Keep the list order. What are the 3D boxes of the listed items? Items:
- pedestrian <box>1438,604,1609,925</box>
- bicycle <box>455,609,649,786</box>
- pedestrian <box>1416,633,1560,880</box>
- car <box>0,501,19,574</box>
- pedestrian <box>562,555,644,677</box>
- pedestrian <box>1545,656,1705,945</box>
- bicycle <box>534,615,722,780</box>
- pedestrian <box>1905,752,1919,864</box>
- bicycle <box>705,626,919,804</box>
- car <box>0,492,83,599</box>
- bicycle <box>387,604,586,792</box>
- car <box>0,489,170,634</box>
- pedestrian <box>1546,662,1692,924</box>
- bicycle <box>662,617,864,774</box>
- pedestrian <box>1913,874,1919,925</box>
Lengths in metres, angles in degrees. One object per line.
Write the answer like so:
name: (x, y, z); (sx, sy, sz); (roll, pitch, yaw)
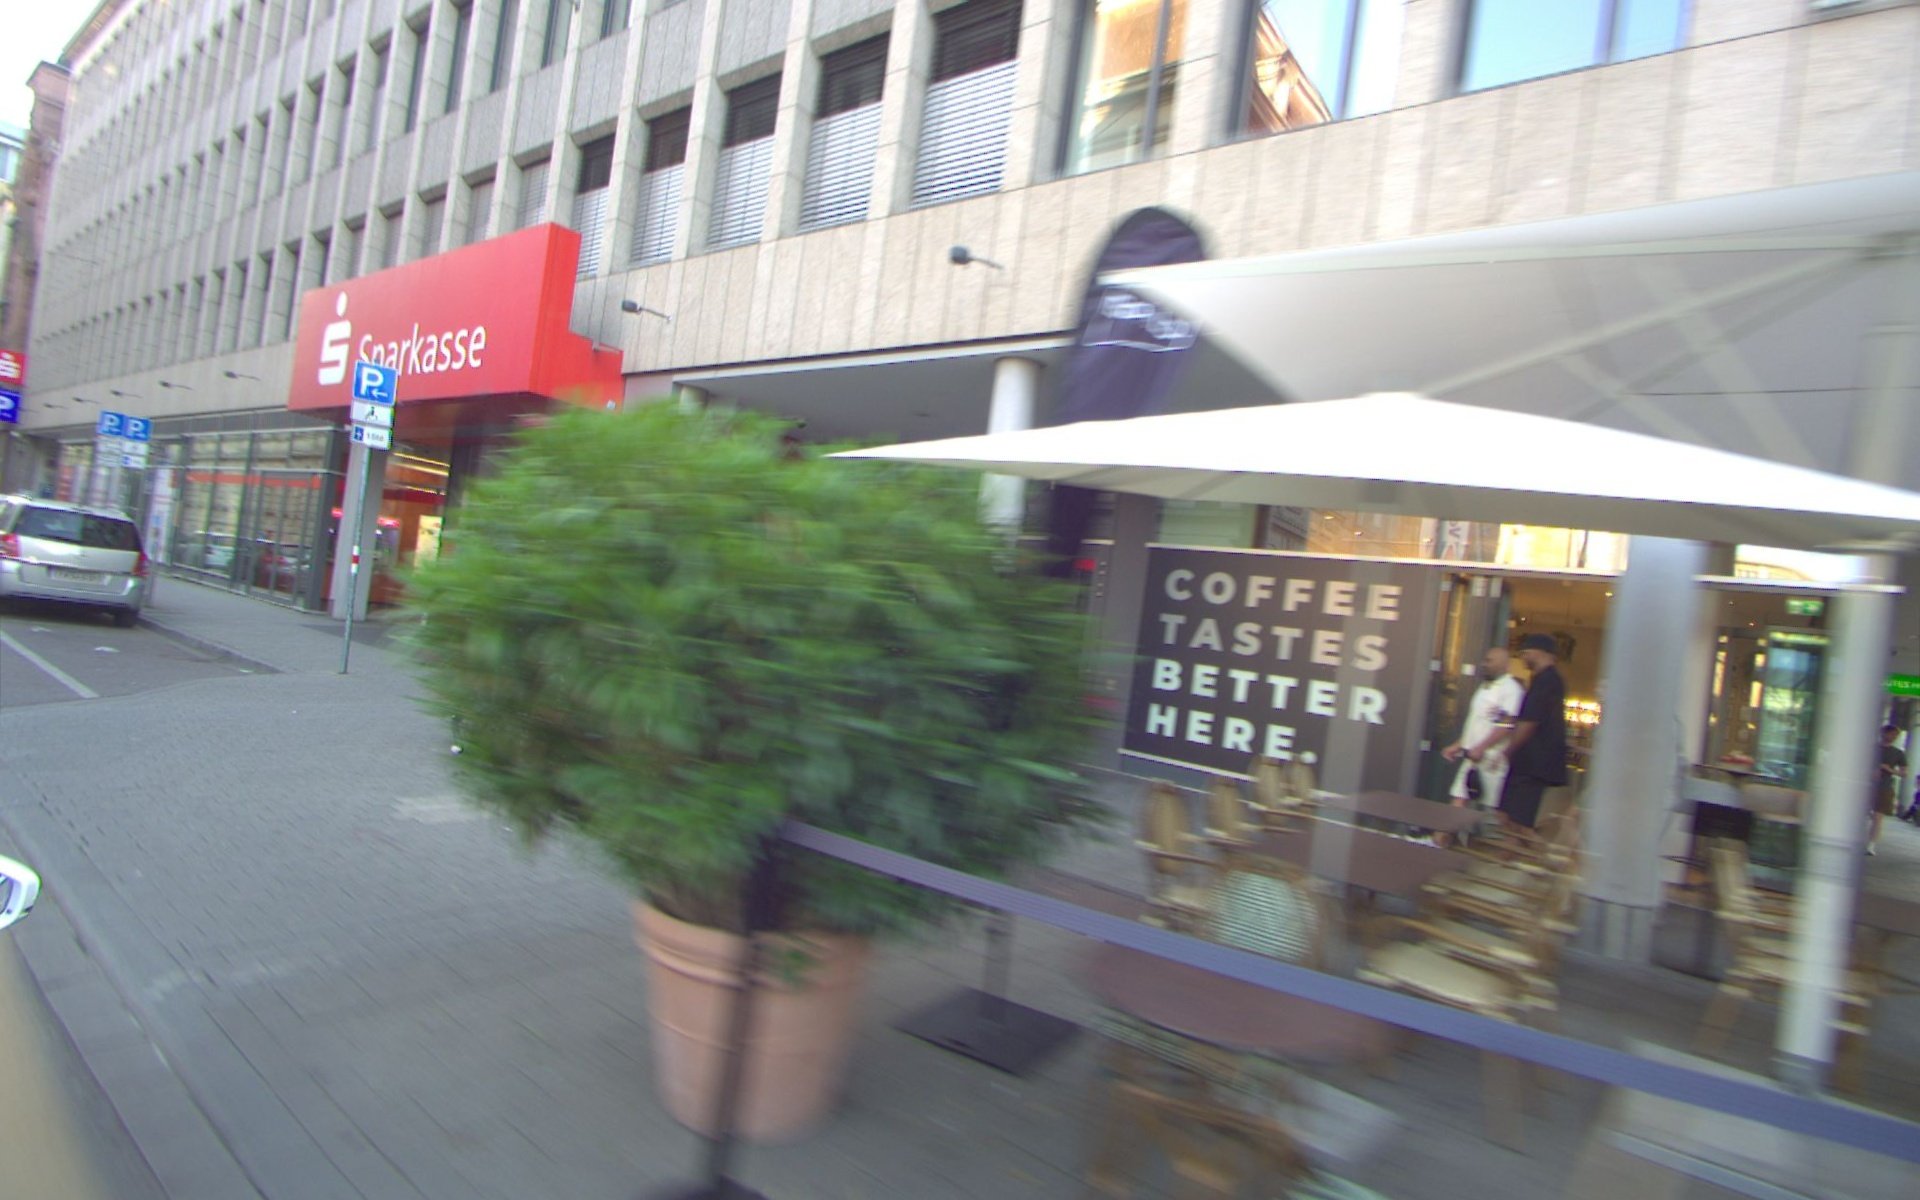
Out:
pedestrian: (3.967, 1.117, 7.065); (0.679, 2.037, 0.780); (8, 0, 40)
bicycle: (-3.081, 0.684, 7.524); (1.661, 1.054, 0.558); (6, 0, 41)
pedestrian: (4.373, 1.275, 8.332); (0.715, 1.870, 0.656); (8, 0, -45)
car: (-22.226, -1.571, 22.133); (3.236, 1.539, 1.645); (6, -4, 39)
pedestrian: (-5.247, 0.240, 14.804); (0.682, 1.682, 0.704); (7, 0, 20)
pedestrian: (4.656, 1.358, 7.036); (0.655, 1.808, 0.716); (8, 0, 40)
bicycle: (-2.681, 0.738, 8.036); (1.661, 1.054, 0.558); (6, 0, 41)
pedestrian: (14.103, 2.924, 14.411); (0.575, 1.773, 0.771); (8, 0, 38)
bicycle: (-1.235, 0.883, 8.152); (1.786, 1.131, 0.544); (6, 0, 39)
car: (-17.767, -1.149, 18.269); (4.027, 1.653, 1.773); (7, -4, 36)
bicycle: (-3.384, 0.644, 7.116); (1.661, 1.054, 0.558); (6, 0, 41)
car: (-13.320, -0.640, 14.696); (3.992, 1.653, 1.771); (6, -4, 39)
pedestrian: (5.061, 1.436, 7.714); (0.655, 1.808, 0.716); (8, 0, 40)
bicycle: (-1.806, 0.823, 9.089); (1.782, 1.131, 0.545); (7, 0, 31)
pedestrian: (8.802, 2.019, 8.700); (0.563, 1.752, 0.615); (8, 0, 38)
